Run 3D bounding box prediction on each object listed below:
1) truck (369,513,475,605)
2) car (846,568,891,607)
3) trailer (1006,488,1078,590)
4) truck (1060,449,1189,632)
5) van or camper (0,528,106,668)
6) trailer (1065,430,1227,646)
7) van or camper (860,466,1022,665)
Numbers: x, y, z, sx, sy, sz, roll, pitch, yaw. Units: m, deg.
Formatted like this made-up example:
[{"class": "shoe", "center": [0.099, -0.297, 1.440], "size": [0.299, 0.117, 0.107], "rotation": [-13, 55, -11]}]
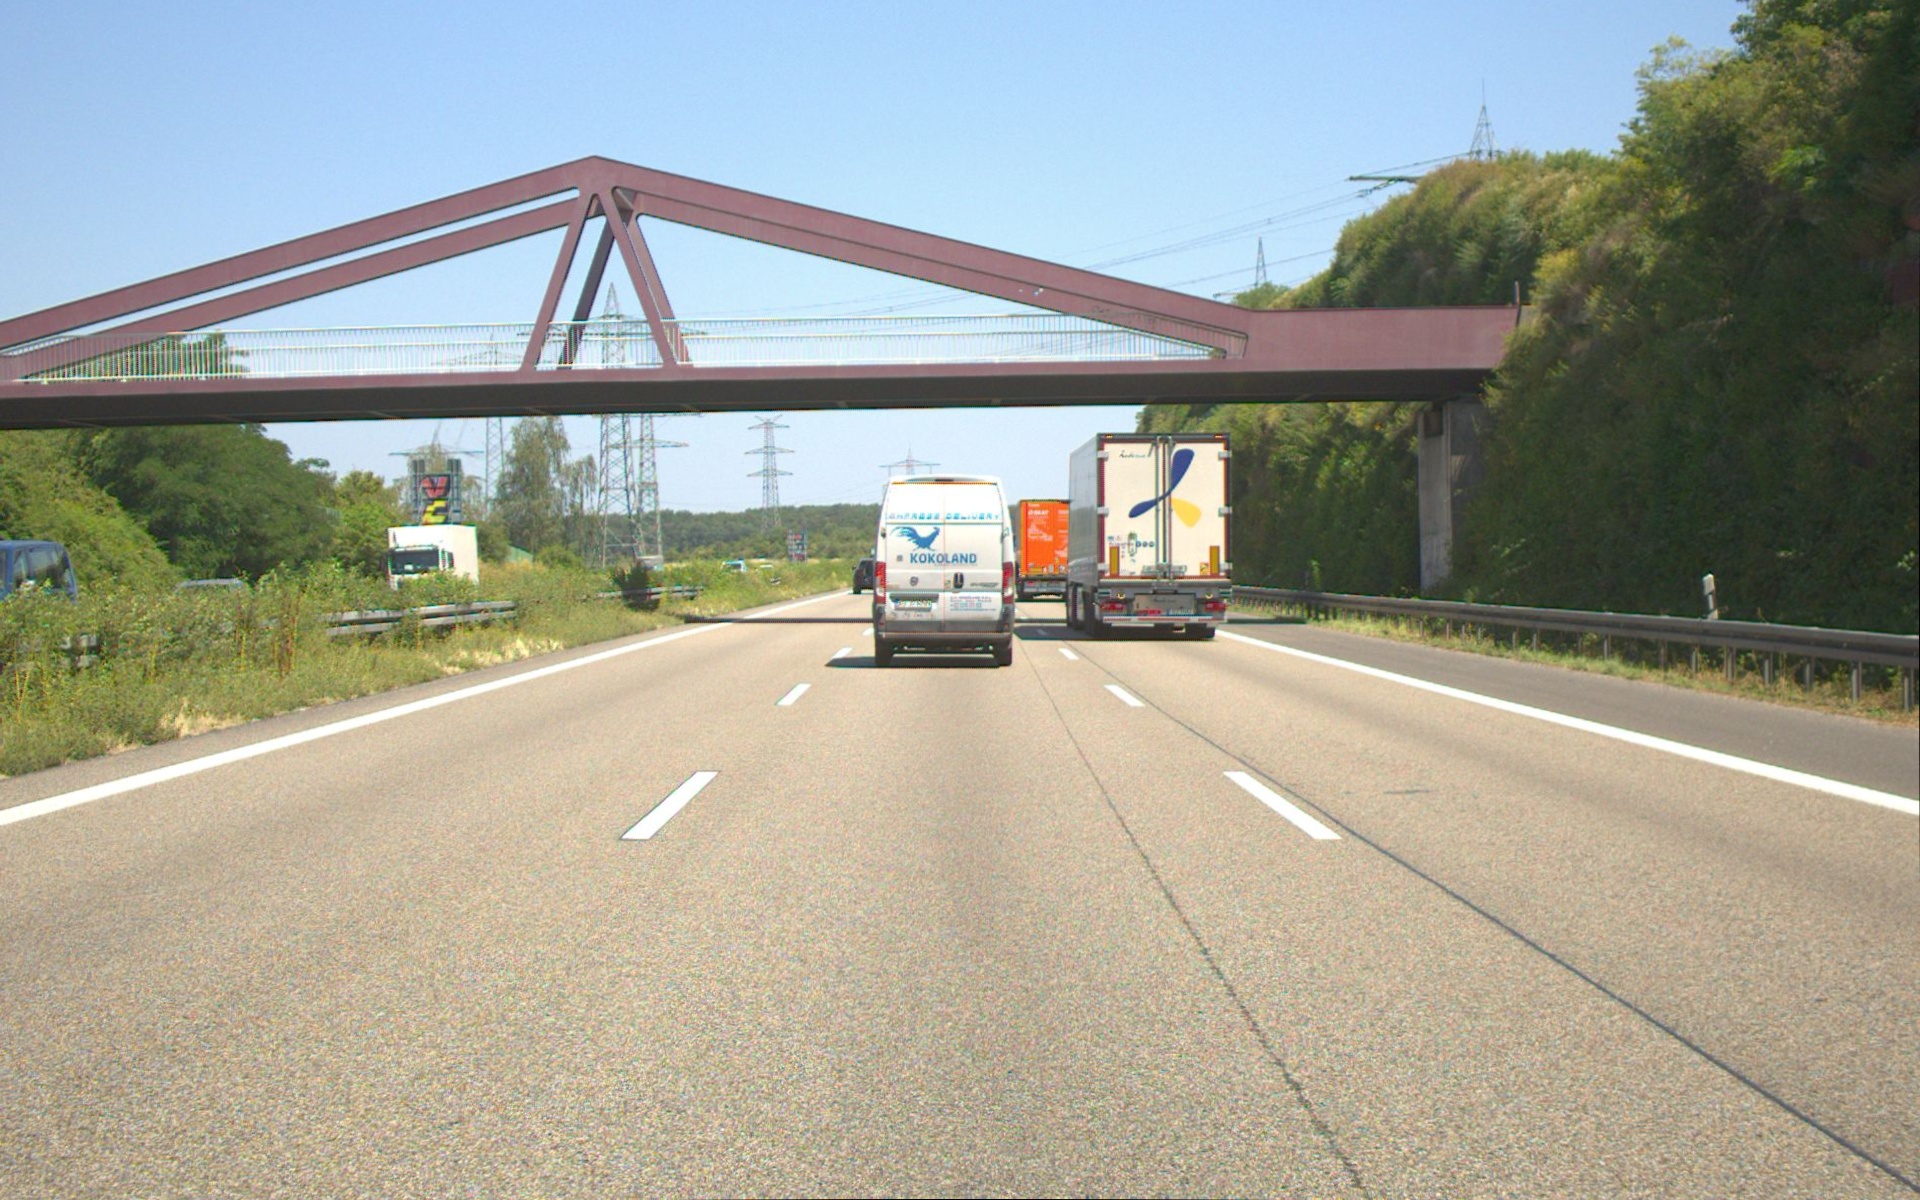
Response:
[{"class": "truck", "center": [-22.054, -1.709, 141.444], "size": [2.808, 3.525, 10.189], "rotation": [-2, 1, -1]}, {"class": "car", "center": [-4.422, -0.617, 166.353], "size": [1.982, 1.811, 3.812], "rotation": [1, 1, 1]}, {"class": "trailer", "center": [3.204, -2.411, 136.035], "size": [2.637, 3.883, 7.069], "rotation": [1, 1, 0]}, {"class": "truck", "center": [3.764, -1.381, 79.865], "size": [2.637, 4.046, 5.800], "rotation": [1, 1, 0]}, {"class": "van or camper", "center": [-13.153, -0.079, 46.863], "size": [1.844, 1.806, 4.875], "rotation": [1, 1, -1]}, {"class": "trailer", "center": [3.742, -1.274, 71.721], "size": [2.637, 4.046, 12.366], "rotation": [1, 1, 0]}, {"class": "van or camper", "center": [-0.308, -0.524, 51.434], "size": [2.230, 2.772, 5.423], "rotation": [1, 1, -1]}]
